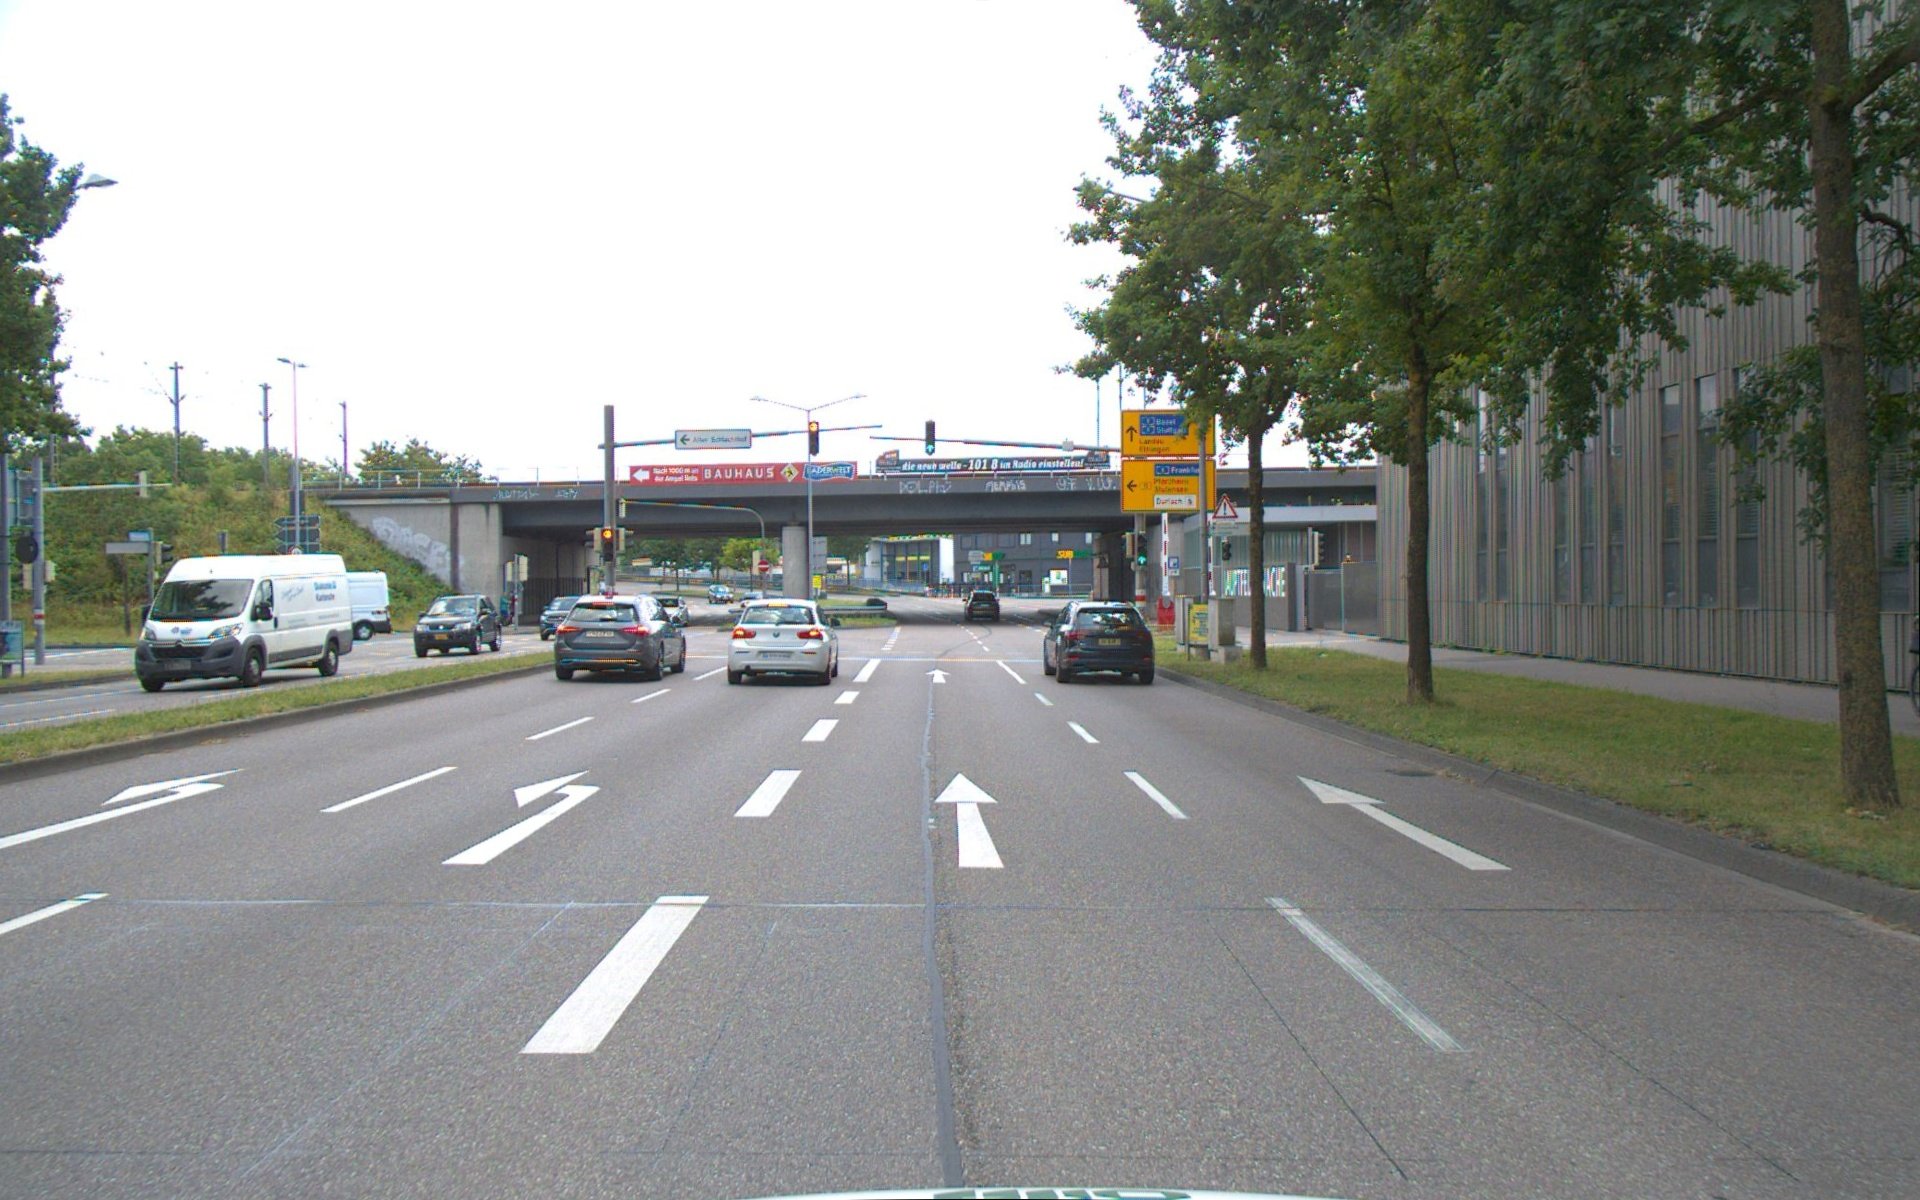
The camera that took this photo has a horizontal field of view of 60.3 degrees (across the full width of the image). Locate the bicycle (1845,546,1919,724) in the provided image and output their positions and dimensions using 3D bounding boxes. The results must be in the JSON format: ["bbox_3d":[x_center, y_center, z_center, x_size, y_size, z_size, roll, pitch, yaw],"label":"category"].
[{"bbox_3d":[10.100,0.347,16.761,0.705,1.805,2.531,-1,0,-5],"label":"bicycle"}]

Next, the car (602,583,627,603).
[{"bbox_3d":[-37.078,-0.781,177.696,1.954,2.049,4.334,-1,1,-3],"label":"car"}]

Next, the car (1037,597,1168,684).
[{"bbox_3d":[2.587,0.697,31.053,1.953,1.414,4.575,1,1,-1],"label":"car"}]

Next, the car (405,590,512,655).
[{"bbox_3d":[-14.694,0.629,48.667,1.953,1.797,4.218,-1,0,-2],"label":"car"}]

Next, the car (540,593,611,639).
[{"bbox_3d":[-14.578,0.562,62.886,1.769,1.661,4.391,-1,0,-1],"label":"car"}]

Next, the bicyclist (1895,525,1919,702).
[{"bbox_3d":[10.100,0.133,16.698,0.701,1.800,0.987,-1,0,-5],"label":"bicyclist"}]

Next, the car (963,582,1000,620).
[{"bbox_3d":[1.202,0.027,94.074,1.953,2.073,4.712,-1,0,-1],"label":"car"}]

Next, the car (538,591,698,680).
[{"bbox_3d":[-6.065,0.579,29.899,1.953,1.440,4.831,1,0,-1],"label":"car"}]

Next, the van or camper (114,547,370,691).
[{"bbox_3d":[-14.183,0.328,33.300,2.304,2.584,7.061,0,0,-2],"label":"van or camper"}]

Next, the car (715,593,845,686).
[{"bbox_3d":[-3.115,0.649,29.382,1.876,1.439,4.294,2,0,-1],"label":"car"}]

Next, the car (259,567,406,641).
[{"bbox_3d":[-25.444,0.121,67.101,5.335,2.871,2.366,-1,0,-27],"label":"car"}]

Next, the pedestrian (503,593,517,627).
[{"bbox_3d":[-23.070,0.511,84.756,0.579,1.710,0.555,-1,0,-4],"label":"pedestrian"}]
